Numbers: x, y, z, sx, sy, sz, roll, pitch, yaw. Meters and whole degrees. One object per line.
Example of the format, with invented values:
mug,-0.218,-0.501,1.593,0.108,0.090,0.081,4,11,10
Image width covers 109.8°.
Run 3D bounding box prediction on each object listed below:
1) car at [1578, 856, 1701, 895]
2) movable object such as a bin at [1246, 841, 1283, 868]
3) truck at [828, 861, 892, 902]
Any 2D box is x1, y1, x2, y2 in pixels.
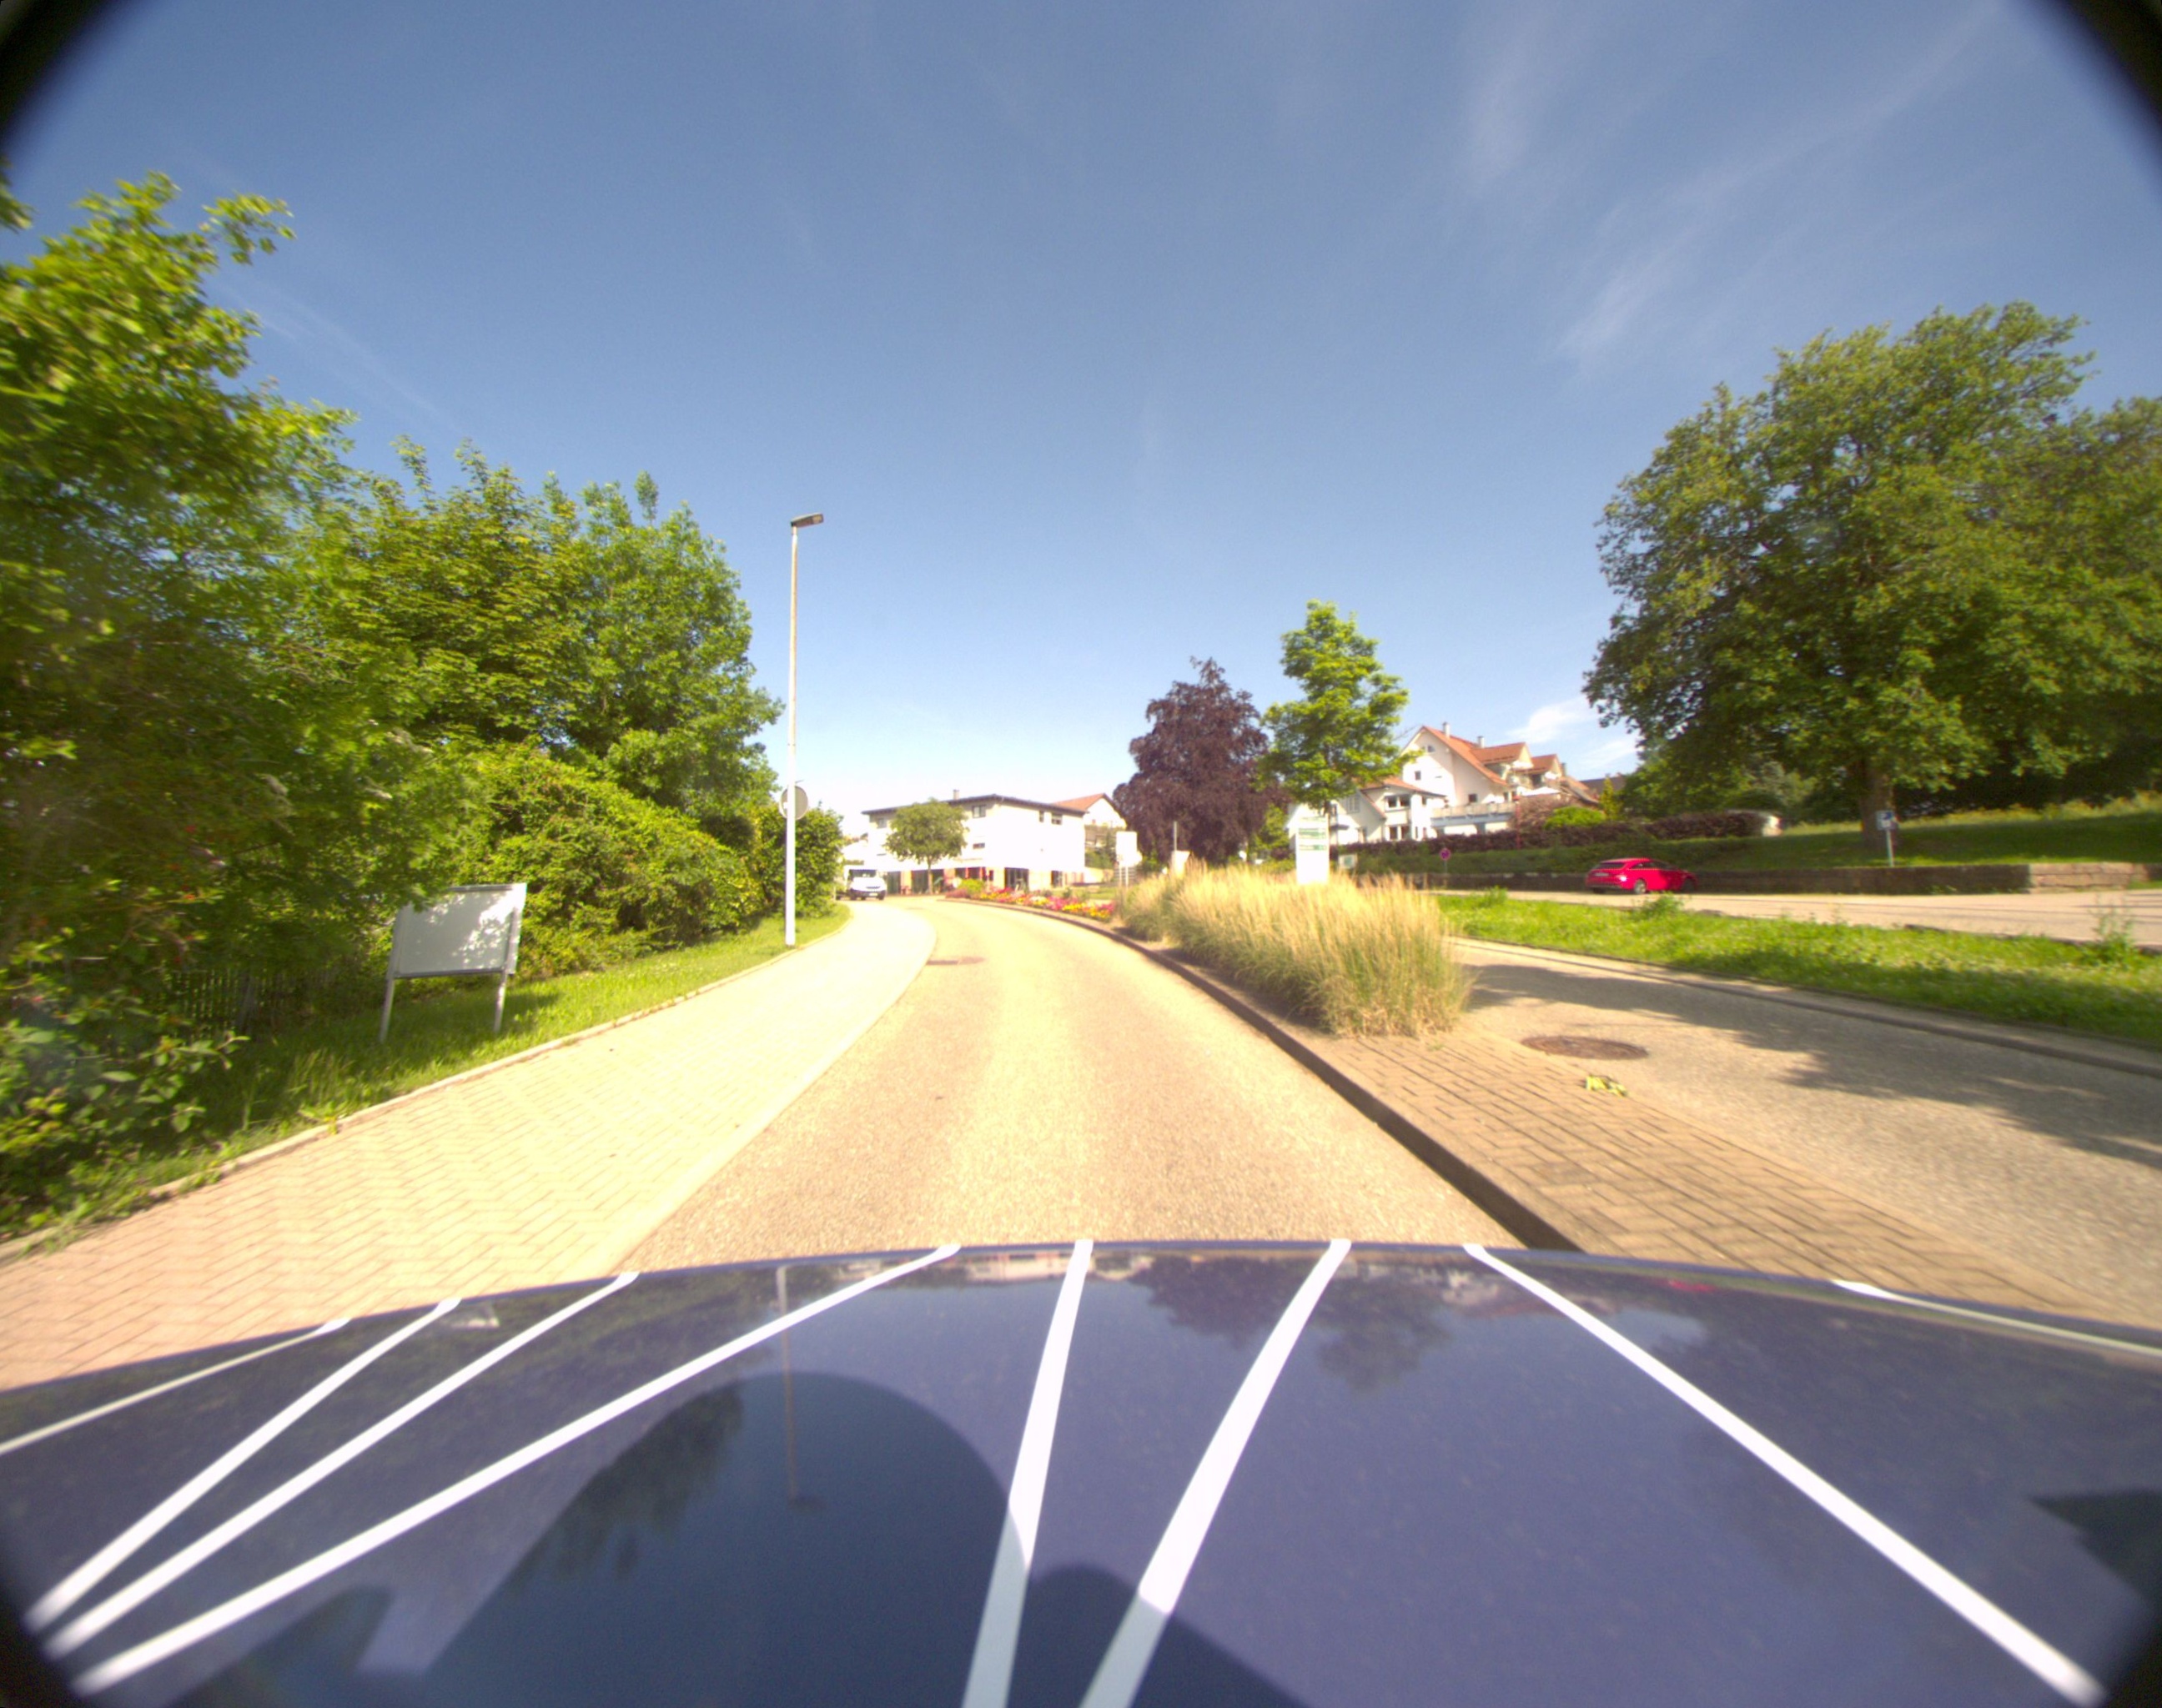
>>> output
car,22.409,0.857,30.491,4.242,1.390,1.821,-1,-1,-18
movable object such as a bin,19.992,0.046,82.571,1.995,2.752,5.115,-2,-1,37
truck,-14.575,1.837,49.843,2.003,2.327,6.481,-3,-2,-34
